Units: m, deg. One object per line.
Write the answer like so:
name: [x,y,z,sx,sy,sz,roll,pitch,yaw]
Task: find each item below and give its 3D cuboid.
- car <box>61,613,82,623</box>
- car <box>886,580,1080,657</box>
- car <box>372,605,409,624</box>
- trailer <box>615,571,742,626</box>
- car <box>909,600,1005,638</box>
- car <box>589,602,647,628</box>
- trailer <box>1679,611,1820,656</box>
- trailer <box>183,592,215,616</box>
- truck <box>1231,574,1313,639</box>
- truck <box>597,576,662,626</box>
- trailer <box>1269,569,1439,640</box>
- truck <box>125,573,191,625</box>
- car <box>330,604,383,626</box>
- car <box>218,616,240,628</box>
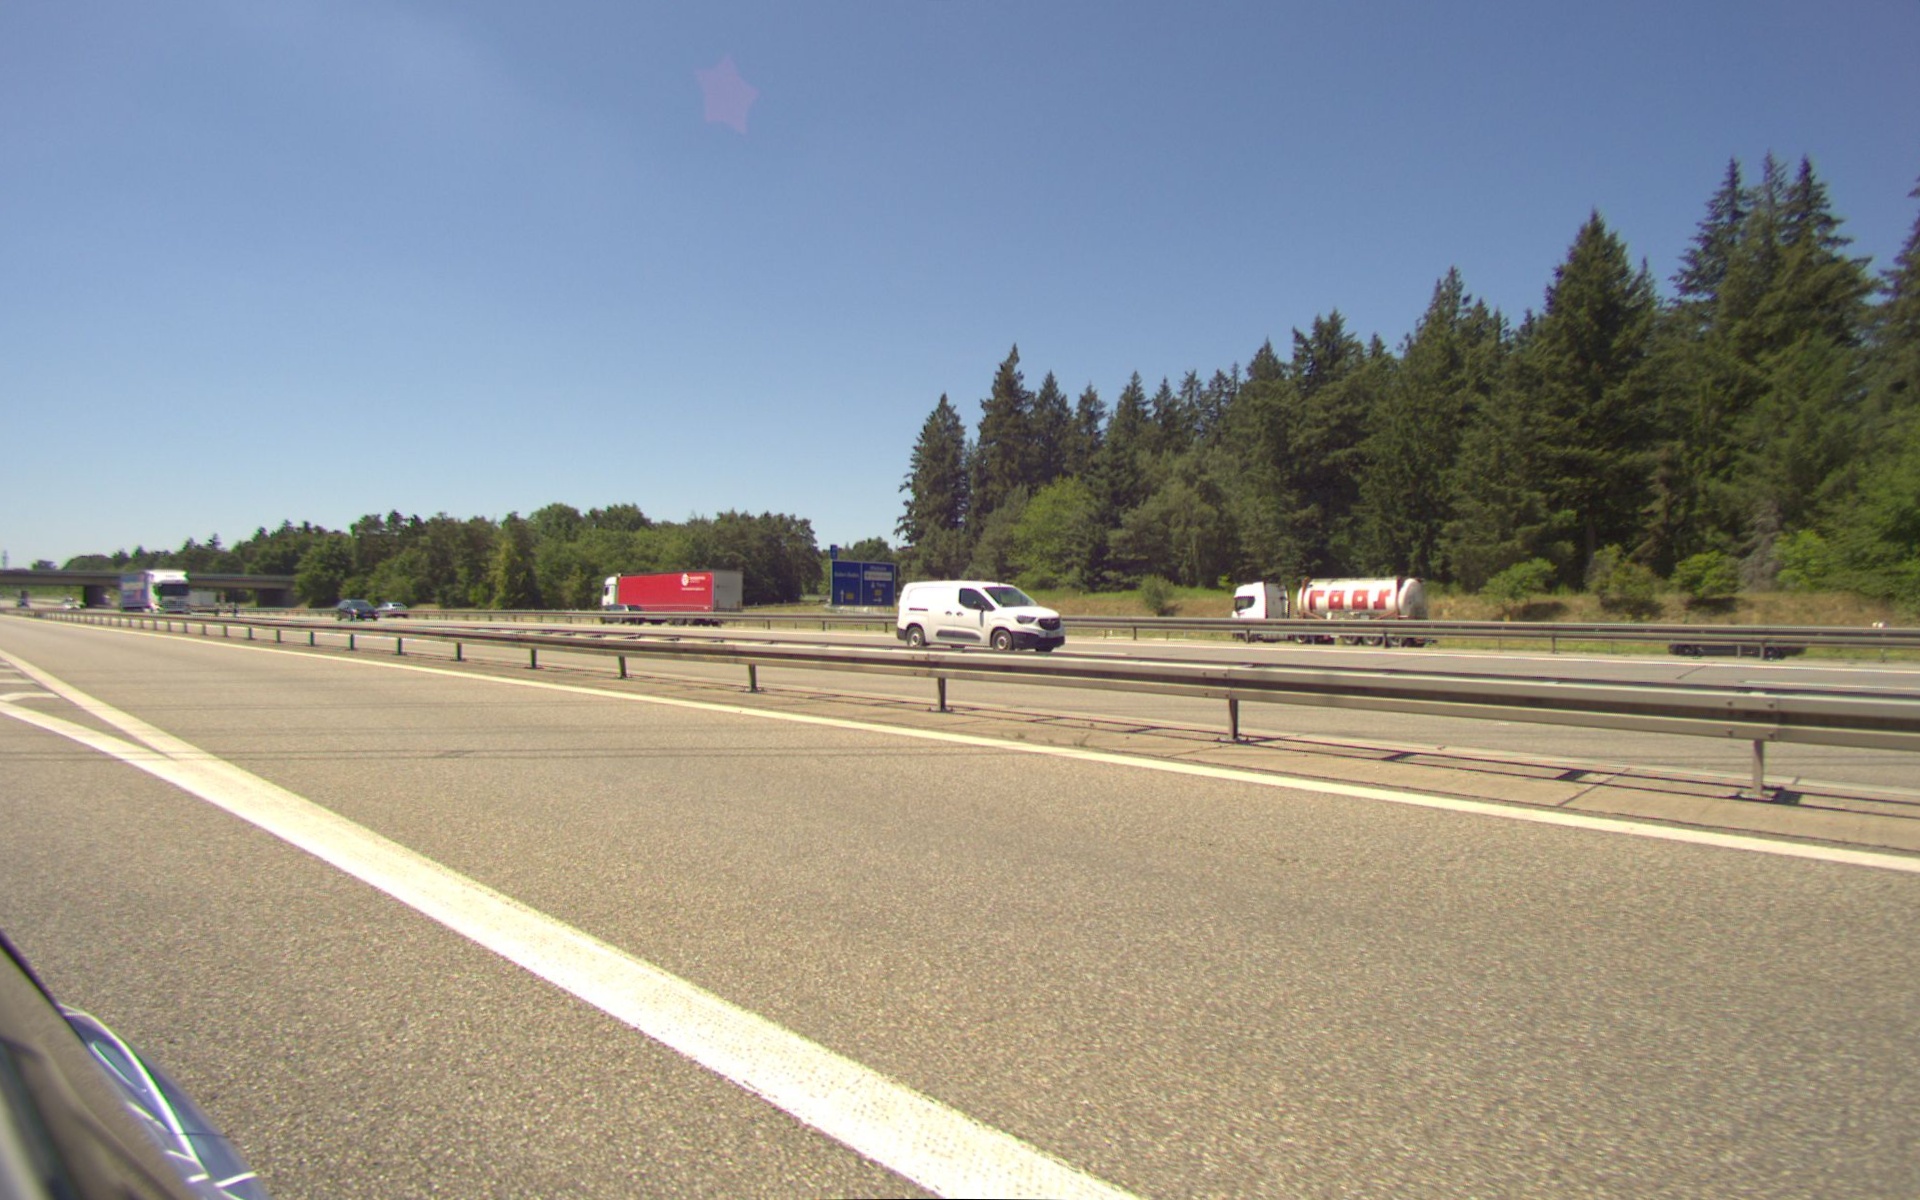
car: [-146.075,2.899,166.355,3.997,1.580,1.973,-1,-1,41]
car: [0.484,0.448,25.530,5.020,1.767,1.752,0,-1,43]
car: [-54.352,1.366,96.531,4.828,1.696,1.751,1,1,45]
trailer: [-21.395,0.045,76.082,13.743,3.826,2.513,-1,-1,44]
car: [-0.201,0.879,49.704,4.826,1.696,1.752,1,1,43]
car: [-24.577,1.061,72.561,4.826,1.696,1.894,1,1,43]
trailer: [34.268,1.406,44.032,1.970,1.833,4.602,1,-1,-43]
trailer: [-148.049,0.836,196.742,2.890,4.421,14.307,4,-3,-44]
truck: [19.281,0.423,62.646,2.732,3.826,4.008,0,-1,-38]
truck: [-26.459,0.155,80.917,5.669,3.826,2.513,-2,-1,44]
trailer: [22.568,0.328,58.490,2.737,3.827,8.952,0,-1,-39]
truck: [-67.080,0.008,84.520,11.047,4.089,2.674,-1,-1,43]
car: [-42.847,1.060,71.818,4.240,1.486,1.973,0,0,41]
car: [-115.022,3.407,159.167,3.999,1.741,1.940,0,-2,42]
